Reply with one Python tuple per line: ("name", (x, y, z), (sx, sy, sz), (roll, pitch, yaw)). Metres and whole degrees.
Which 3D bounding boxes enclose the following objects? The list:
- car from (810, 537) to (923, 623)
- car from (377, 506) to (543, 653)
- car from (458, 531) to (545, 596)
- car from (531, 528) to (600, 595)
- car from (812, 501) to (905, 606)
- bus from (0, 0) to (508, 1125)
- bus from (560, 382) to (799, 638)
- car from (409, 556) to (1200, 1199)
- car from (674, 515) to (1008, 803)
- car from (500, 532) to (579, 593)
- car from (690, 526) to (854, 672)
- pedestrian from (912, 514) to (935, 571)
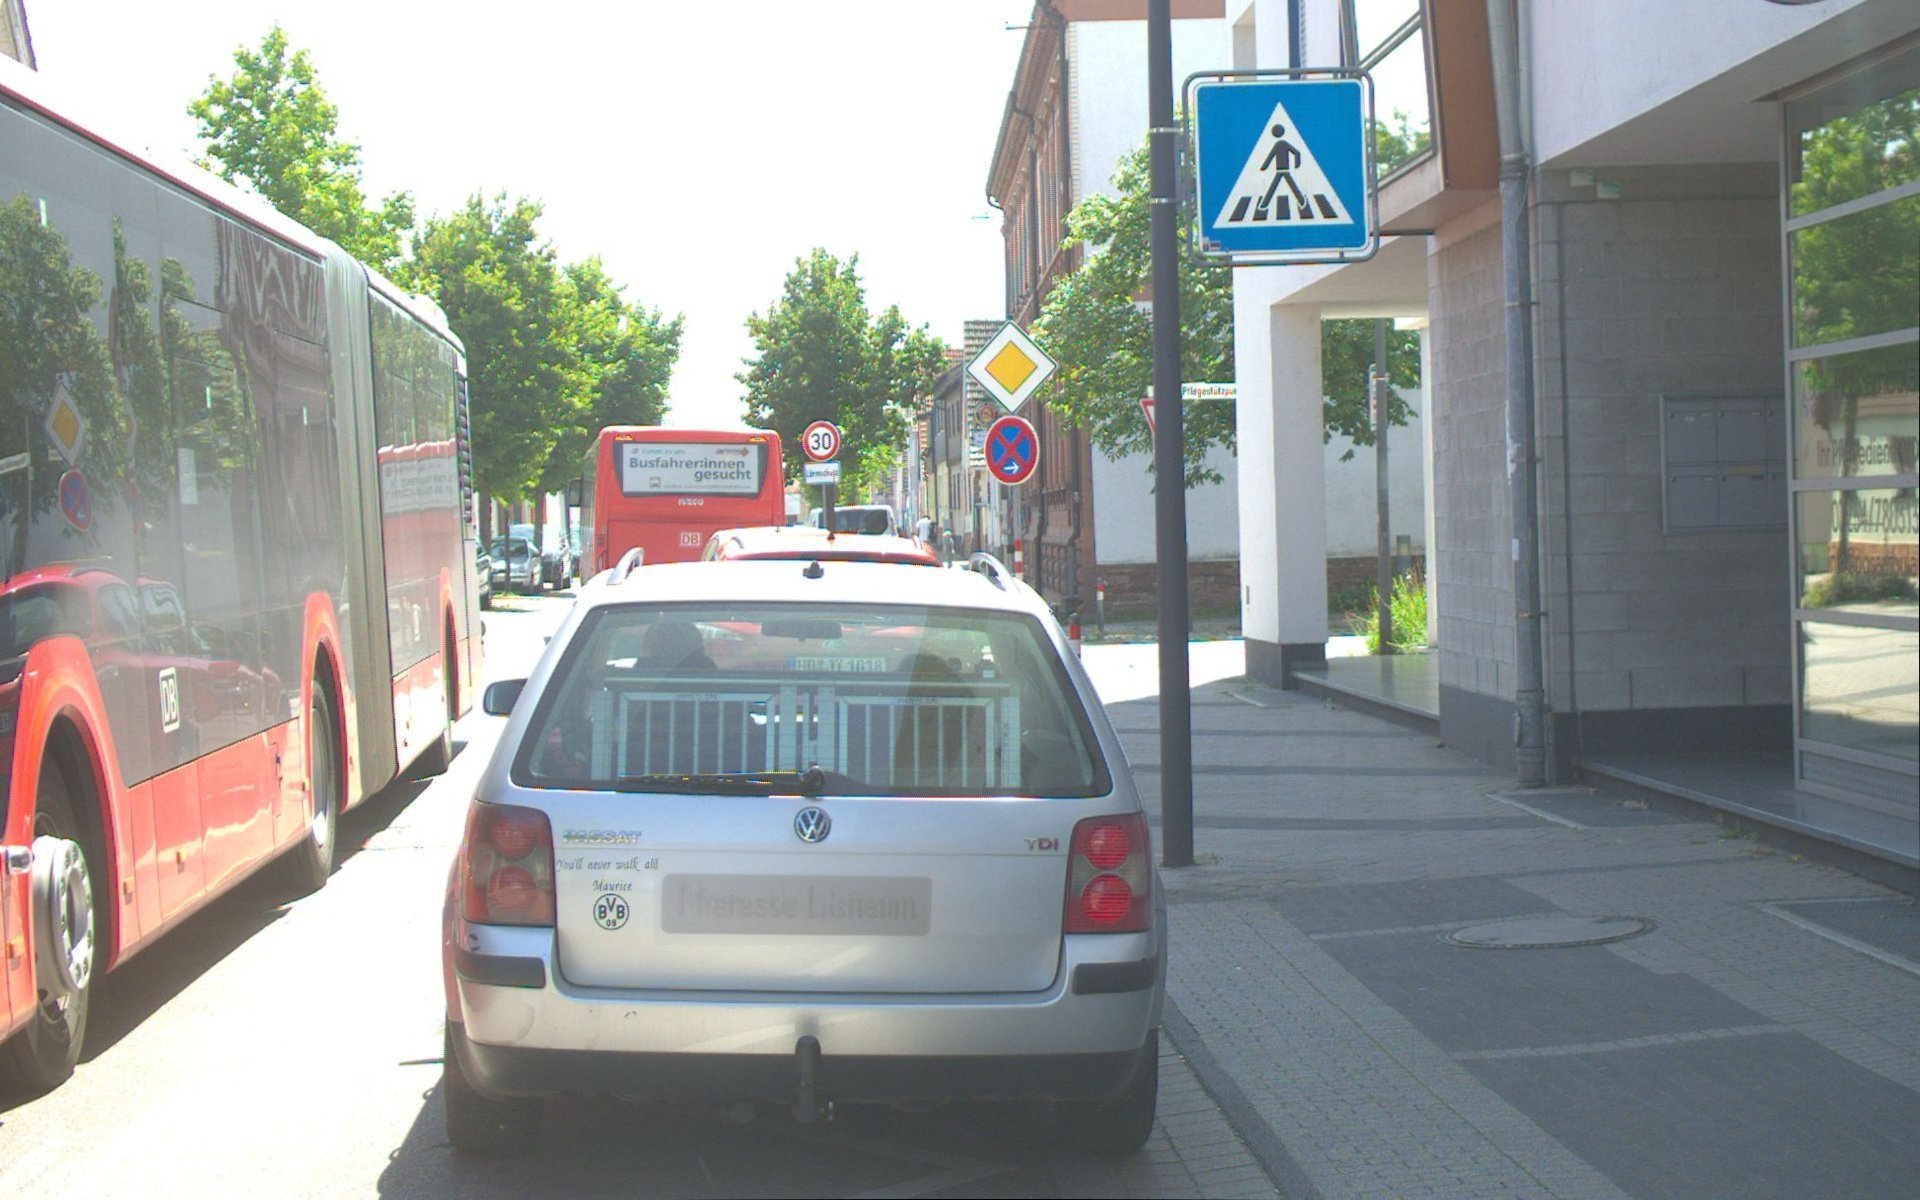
("car", (-1.556, -0.349, 56.049), (1.719, 1.304, 3.626), (-2, 1, -3))
("car", (-6.239, -0.292, 43.272), (1.674, 1.710, 4.233), (-2, 1, -4))
("car", (-11.547, -0.938, 86.786), (1.811, 1.553, 4.001), (-2, 1, -3))
("car", (-12.135, -1.207, 106.019), (1.811, 1.989, 4.001), (-2, 1, -3))
("car", (-2.126, -0.975, 71.336), (1.787, 2.075, 3.626), (-2, 1, -3))
("bus", (-4.105, -0.377, 15.399), (2.668, 3.113, 17.809), (-2, 1, -3))
("bus", (-4.373, -1.268, 50.980), (2.739, 3.287, 12.708), (-1, 1, -8))
("car", (-0.415, 0.615, 9.167), (1.677, 1.425, 3.680), (0, 1, -3))
("car", (-0.698, 0.266, 19.568), (1.677, 1.425, 3.680), (-2, 1, -3))
("car", (-11.422, -1.041, 93.532), (1.811, 1.553, 4.001), (-2, 1, -3))
("car", (-1.892, -0.050, 35.476), (1.593, 1.425, 3.680), (0, 1, -2))
("pedestrian", (-1.079, -1.688, 101.110), (0.606, 1.661, 0.789), (-2, 1, -4))
